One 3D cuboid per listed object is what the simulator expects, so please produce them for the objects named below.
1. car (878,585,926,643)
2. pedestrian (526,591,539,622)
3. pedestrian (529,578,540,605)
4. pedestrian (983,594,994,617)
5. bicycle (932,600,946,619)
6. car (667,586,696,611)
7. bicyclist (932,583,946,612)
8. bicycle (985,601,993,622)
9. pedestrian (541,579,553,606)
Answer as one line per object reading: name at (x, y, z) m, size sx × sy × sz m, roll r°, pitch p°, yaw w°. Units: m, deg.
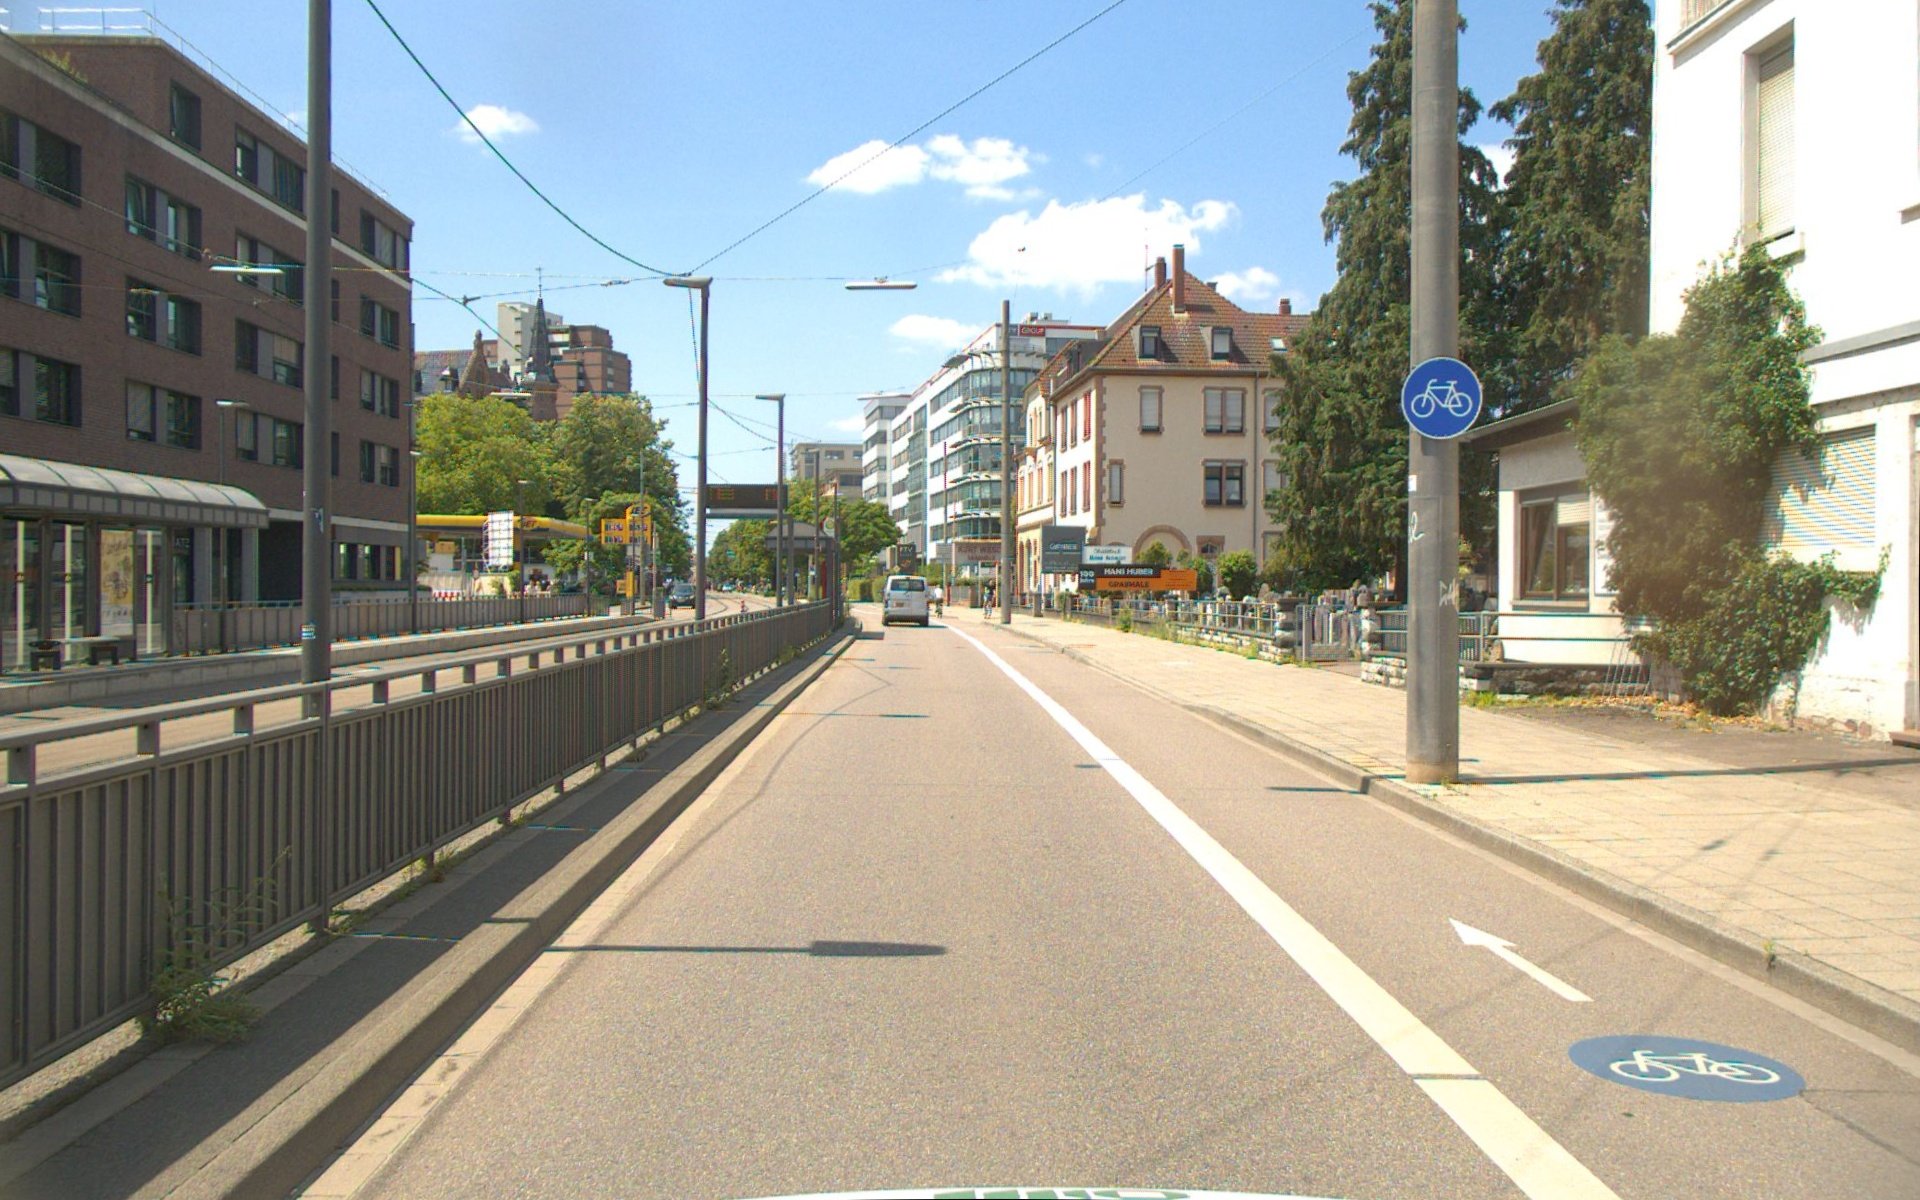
car at (-2.180, 0.479, 62.150) m, size 1.717 × 2.049 × 3.998 m, roll -1°, pitch 1°, yaw -3°
pedestrian at (-20.016, 0.313, 77.411) m, size 0.426 × 1.408 × 0.535 m, roll -2°, pitch -1°, yaw -2°
pedestrian at (-26.904, -0.521, 104.509) m, size 0.541 × 1.687 × 0.672 m, roll 0°, pitch 0°, yaw -2°
pedestrian at (1.347, 0.249, 79.259) m, size 0.473 × 1.072 × 0.536 m, roll -2°, pitch -1°, yaw -1°
bicycle at (-1.049, 0.471, 81.757) m, size 0.457 × 0.903 × 2.044 m, roll 0°, pitch 0°, yaw -8°
car at (-18.785, -0.135, 111.830) m, size 1.666 × 1.644 × 3.753 m, roll 1°, pitch 0°, yaw -6°
bicyclist at (-1.028, -0.111, 81.691) m, size 0.580 × 1.421 × 0.840 m, roll 0°, pitch 0°, yaw -9°
bicycle at (1.381, 0.561, 79.239) m, size 0.349 × 0.956 × 1.317 m, roll -2°, pitch -1°, yaw -1°
pedestrian at (-26.318, -0.503, 105.336) m, size 0.568 × 1.700 × 0.667 m, roll 1°, pitch -1°, yaw -1°
